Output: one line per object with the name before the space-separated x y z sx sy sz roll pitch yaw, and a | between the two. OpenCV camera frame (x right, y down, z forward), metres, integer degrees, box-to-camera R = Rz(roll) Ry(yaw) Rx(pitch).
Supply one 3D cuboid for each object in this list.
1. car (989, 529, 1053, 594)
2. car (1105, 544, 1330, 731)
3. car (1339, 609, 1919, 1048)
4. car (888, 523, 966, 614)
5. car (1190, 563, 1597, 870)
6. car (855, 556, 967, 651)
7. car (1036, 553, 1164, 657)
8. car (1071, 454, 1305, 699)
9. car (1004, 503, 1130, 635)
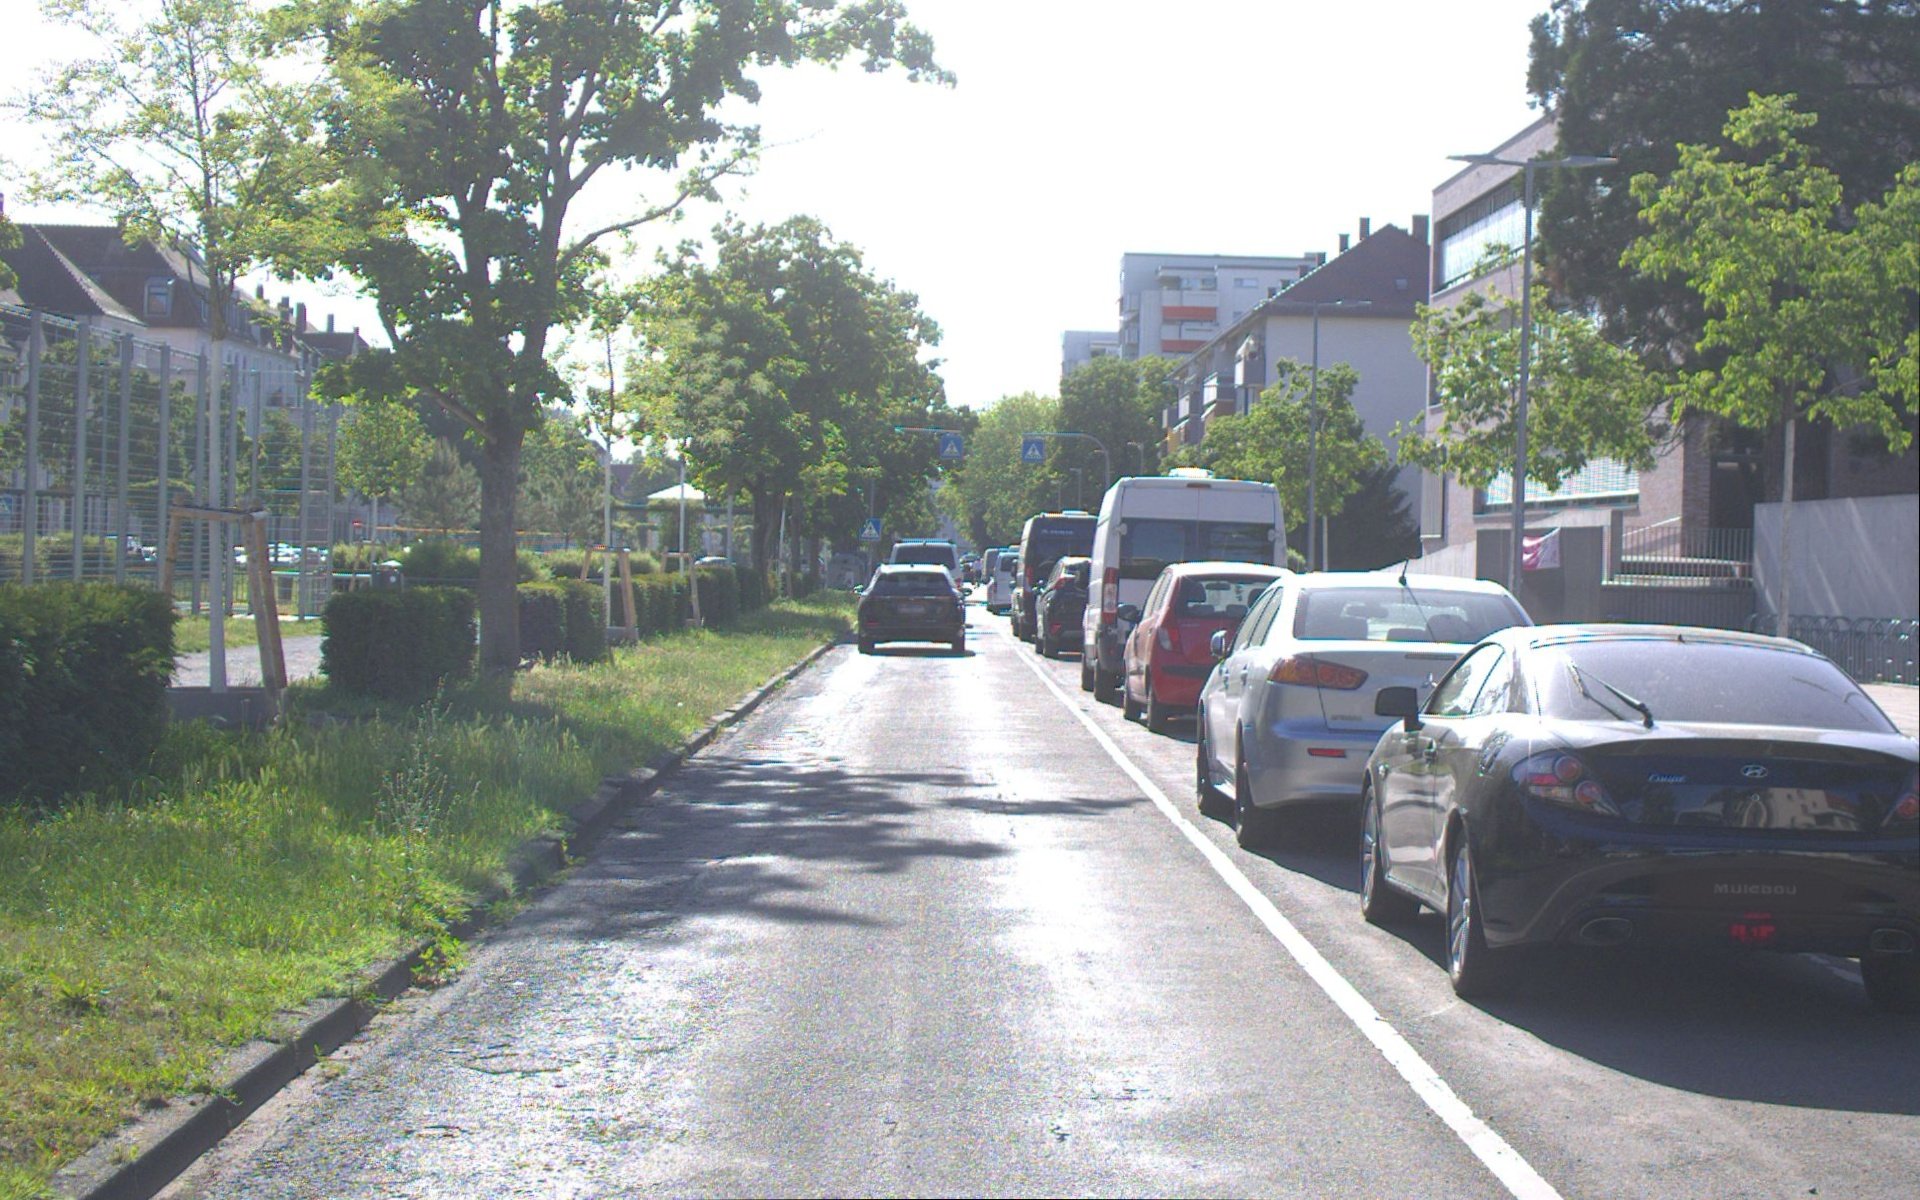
car | 1.857 -1.159 103.163 1.794 1.849 4.413 2 1 2
car | 2.338 0.305 31.983 1.619 1.583 3.592 2 1 -3
car | 2.594 0.758 13.317 1.701 1.321 4.130 2 1 -1
car | -0.776 -0.767 83.618 1.794 2.115 4.000 2 1 0
car | 2.320 0.565 19.392 1.701 1.473 4.174 2 1 0
car | -0.799 0.033 58.186 1.794 1.505 4.000 2 1 0
car | 2.297 0.051 57.440 1.846 1.634 4.504 1 1 -1
car | 2.545 -0.289 39.772 2.241 2.565 5.432 2 1 0
car | 2.106 -0.637 69.580 2.115 2.507 6.532 1 1 -2
